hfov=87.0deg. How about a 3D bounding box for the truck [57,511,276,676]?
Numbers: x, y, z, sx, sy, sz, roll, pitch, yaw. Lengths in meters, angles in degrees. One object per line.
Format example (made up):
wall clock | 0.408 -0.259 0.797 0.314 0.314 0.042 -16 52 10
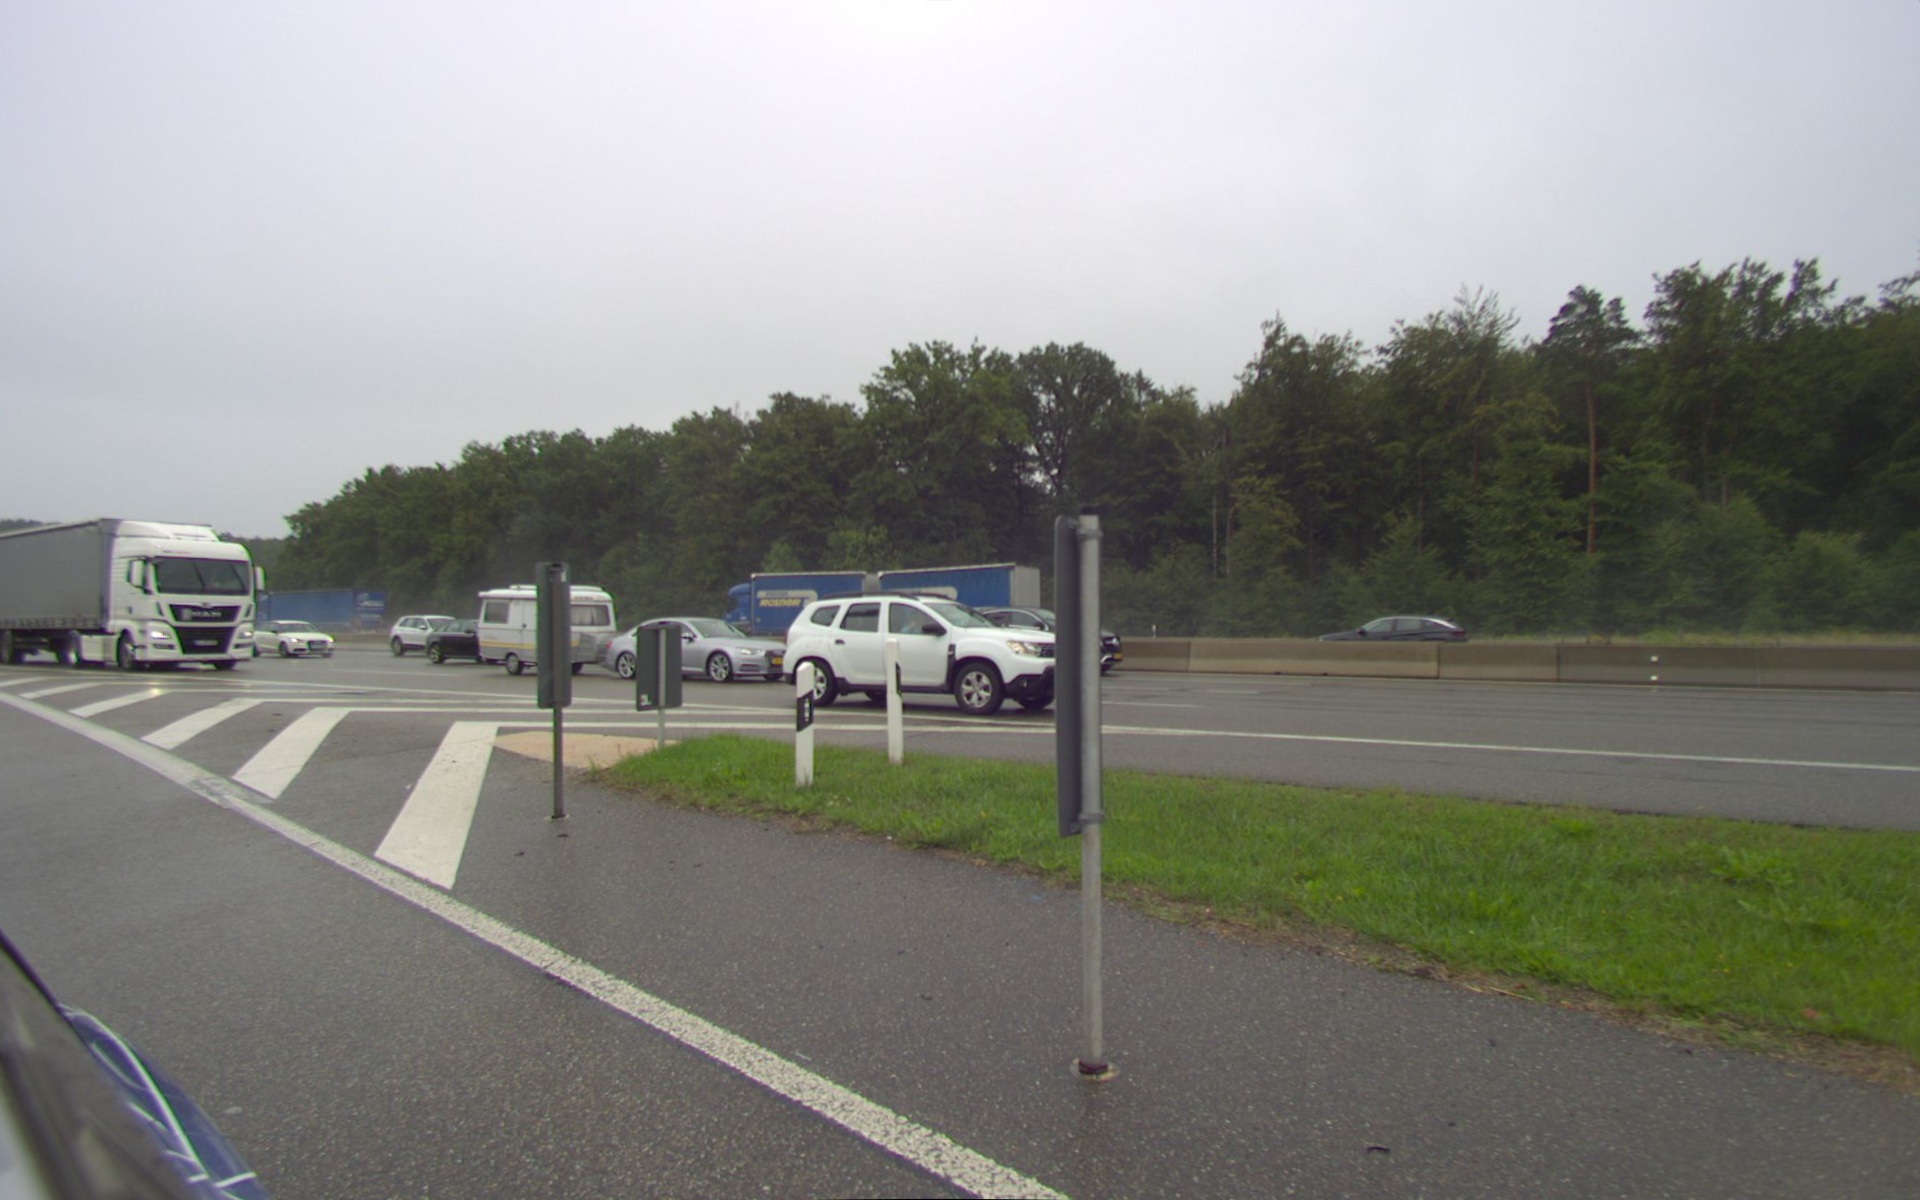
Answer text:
truck | -21.790 -0.062 27.750 5.914 4.083 2.850 -1 -2 32

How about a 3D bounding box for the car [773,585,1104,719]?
car | -0.355 0.702 13.949 4.308 1.598 1.772 -2 -3 31

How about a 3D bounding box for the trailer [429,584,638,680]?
trailer | -10.591 0.818 25.027 5.160 2.172 2.113 -1 -3 31

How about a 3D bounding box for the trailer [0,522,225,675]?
trailer | -27.780 0.146 31.563 14.073 4.013 2.872 -2 -2 33

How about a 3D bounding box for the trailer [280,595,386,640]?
trailer | -50.467 1.438 81.308 11.365 3.443 2.710 -1 -1 33

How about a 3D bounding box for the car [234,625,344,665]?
car | -26.136 1.710 39.388 4.487 1.492 1.865 -1 -2 32

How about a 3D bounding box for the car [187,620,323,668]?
car | -23.156 1.416 33.206 4.482 1.492 1.868 -1 -2 29

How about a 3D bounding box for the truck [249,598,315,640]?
truck | -57.617 1.593 85.978 5.693 3.441 2.739 -1 -1 33

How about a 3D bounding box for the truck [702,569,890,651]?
truck | -9.003 0.504 54.743 10.520 4.009 3.039 0 3 31

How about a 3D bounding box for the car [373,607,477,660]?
car | -21.921 1.362 41.474 3.984 2.029 1.922 -2 0 30

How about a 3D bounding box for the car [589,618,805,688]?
car | -5.697 1.124 21.746 4.564 1.358 1.832 -1 -3 31

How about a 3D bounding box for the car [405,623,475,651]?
car | -32.970 2.322 64.188 4.353 1.732 1.979 -1 -2 32

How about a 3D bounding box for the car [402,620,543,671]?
car | -15.736 1.430 32.622 4.513 1.552 1.978 -1 -2 32

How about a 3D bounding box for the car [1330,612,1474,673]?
car | 13.538 1.274 31.060 3.837 1.749 1.727 -1 0 32

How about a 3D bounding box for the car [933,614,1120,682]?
car | 1.665 1.206 25.818 4.509 1.587 1.692 -1 -3 32

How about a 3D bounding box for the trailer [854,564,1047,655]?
trailer | -0.547 0.410 49.647 9.132 4.076 3.069 0 3 31
